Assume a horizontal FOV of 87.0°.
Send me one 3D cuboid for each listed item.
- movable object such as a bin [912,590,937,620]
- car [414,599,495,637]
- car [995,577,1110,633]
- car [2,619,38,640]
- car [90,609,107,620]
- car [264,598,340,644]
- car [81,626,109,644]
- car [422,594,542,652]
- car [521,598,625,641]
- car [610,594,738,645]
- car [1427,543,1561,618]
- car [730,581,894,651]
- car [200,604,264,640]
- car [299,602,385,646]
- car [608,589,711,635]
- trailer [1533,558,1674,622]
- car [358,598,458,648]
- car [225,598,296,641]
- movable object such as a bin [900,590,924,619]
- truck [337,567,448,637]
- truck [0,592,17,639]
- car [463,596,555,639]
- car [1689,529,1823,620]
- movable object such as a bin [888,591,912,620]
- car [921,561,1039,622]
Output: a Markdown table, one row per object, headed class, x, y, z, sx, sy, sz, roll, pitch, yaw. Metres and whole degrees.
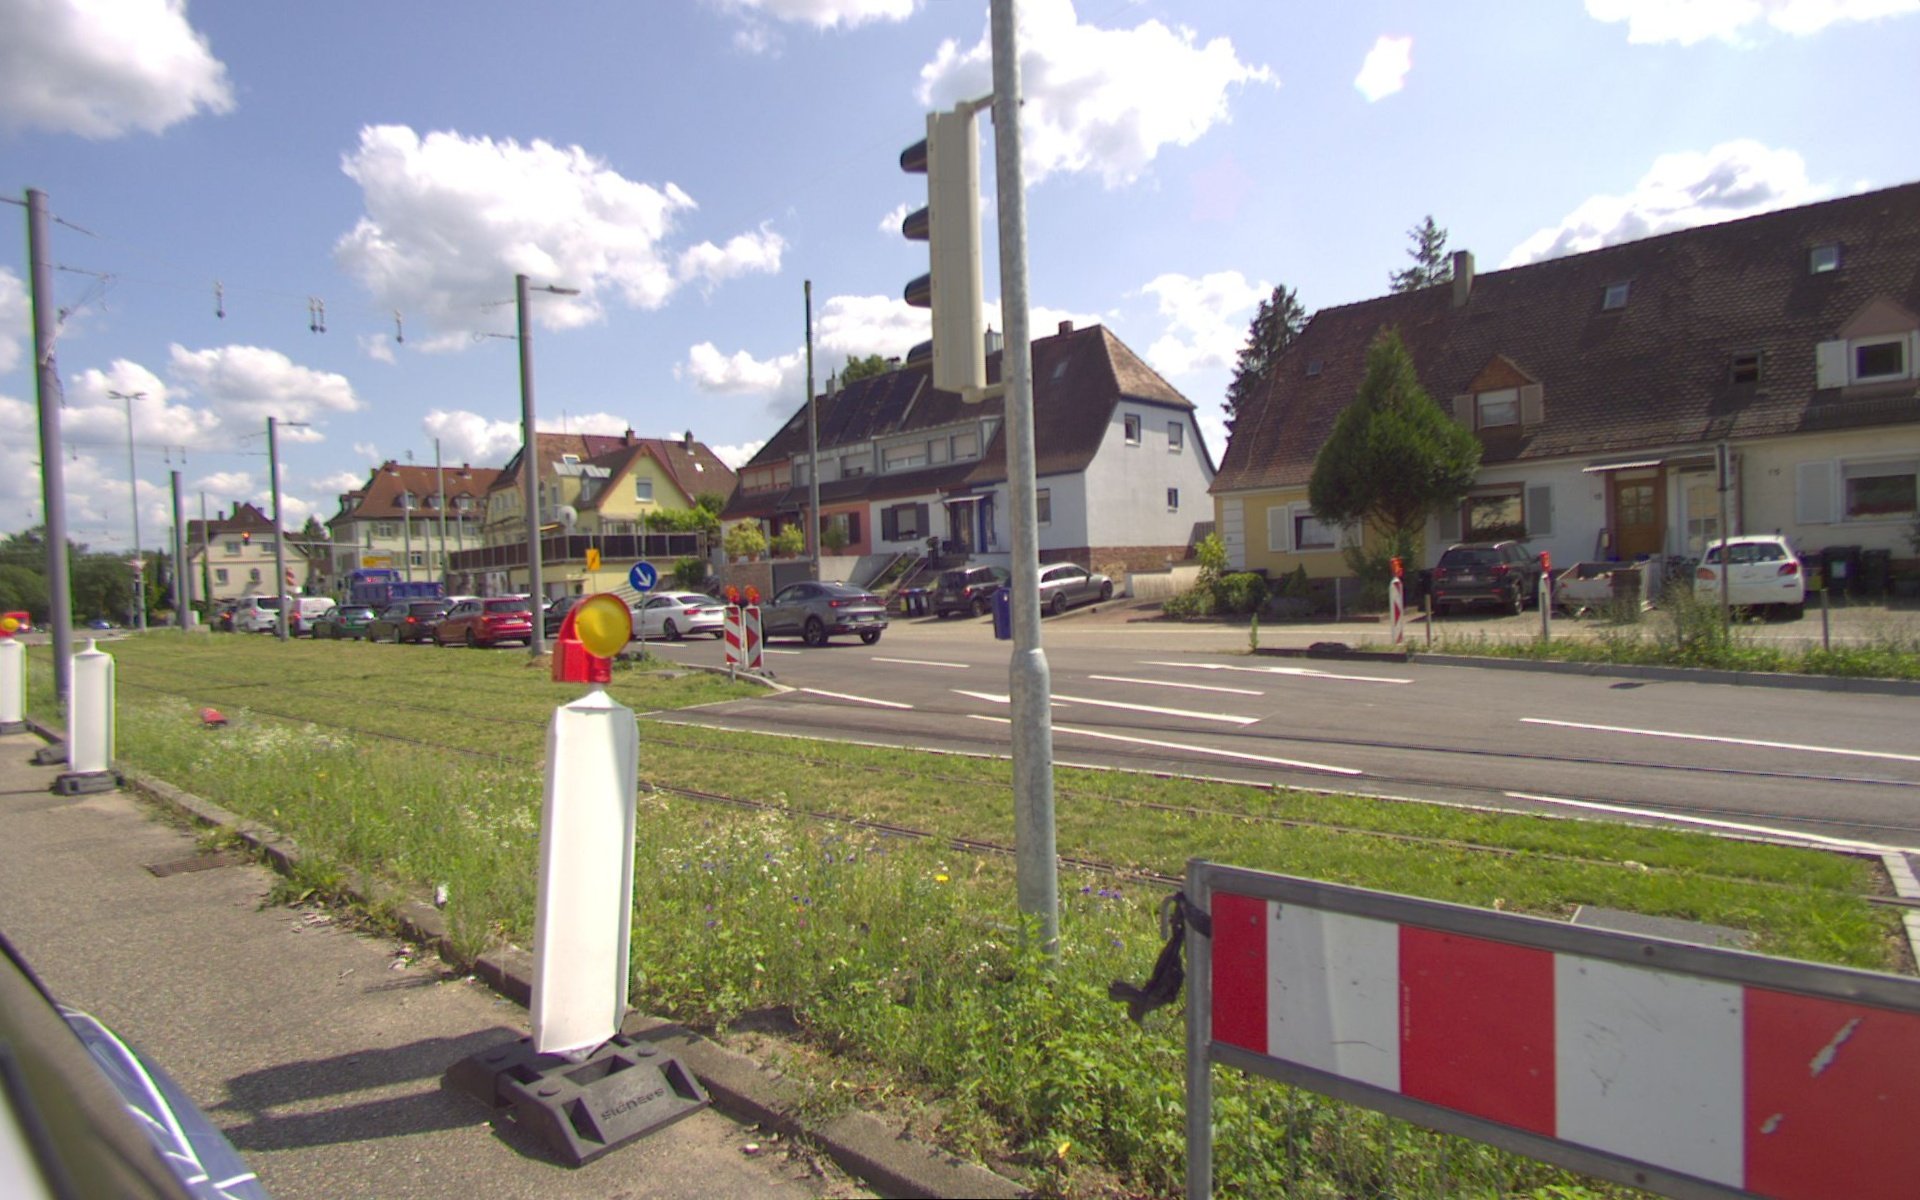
| class | x | y | z | sx | sy | sz | roll | pitch | yaw |
| --- | --- | --- | --- | --- | --- | --- | --- | --- | --- |
| movable object such as a bin | -1.190 | 0.165 | 33.928 | 0.610 | 0.959 | 0.511 | -2 | 1 | 42 |
| car | -22.498 | 0.803 | 44.975 | 4.541 | 1.574 | 1.707 | -2 | 1 | 43 |
| car | 2.939 | 0.124 | 31.657 | 1.680 | 1.566 | 3.840 | -2 | 1 | 39 |
| car | -90.630 | 2.793 | 97.592 | 2.251 | 1.886 | 4.993 | -3 | 1 | -40 |
| car | -132.852 | 2.269 | 156.018 | 1.698 | 1.603 | 4.175 | -3 | 1 | -44 |
| car | -29.292 | 0.924 | 45.014 | 4.541 | 1.868 | 1.707 | -2 | 1 | 43 |
| car | -98.749 | 3.938 | 115.550 | 2.250 | 1.886 | 4.994 | -3 | 1 | -39 |
| car | -14.457 | 0.686 | 30.478 | 4.543 | 1.574 | 1.706 | -2 | 1 | 44 |
| car | -13.560 | 0.681 | 35.285 | 1.705 | 1.344 | 4.545 | -3 | 1 | -44 |
| car | -8.591 | 0.577 | 30.170 | 1.705 | 1.344 | 4.545 | -3 | 1 | -44 |
| car | 12.358 | -0.481 | 23.313 | 1.707 | 1.556 | 3.841 | -2 | 1 | 44 |
| car | -3.795 | 0.383 | 25.278 | 1.704 | 1.538 | 4.777 | -3 | 1 | -41 |
| car | -39.464 | 1.199 | 54.840 | 4.541 | 1.794 | 1.897 | -2 | 1 | 43 |
| car | -24.620 | 0.950 | 40.264 | 4.541 | 1.574 | 1.707 | -2 | 1 | 43 |
| car | -11.535 | 0.470 | 38.672 | 4.543 | 1.574 | 1.706 | -2 | 1 | 44 |
| trailer | 13.709 | -0.251 | 21.412 | 1.958 | 1.133 | 4.873 | -2 | 1 | 39 |
| car | -19.369 | 0.804 | 35.441 | 4.645 | 1.574 | 1.706 | -2 | 1 | 44 |
| car | -34.802 | 0.972 | 50.304 | 4.541 | 1.979 | 1.897 | -2 | 1 | 43 |
| movable object such as a bin | -1.634 | 0.163 | 34.327 | 0.582 | 0.959 | 0.511 | -2 | 1 | 42 |
| truck | -28.524 | 0.144 | 50.694 | 2.803 | 3.177 | 7.939 | -3 | 1 | -44 |
| truck | -112.807 | 1.908 | 118.261 | 3.426 | 5.222 | 14.234 | -3 | 1 | -42 |
| car | -17.925 | 0.694 | 40.098 | 4.543 | 1.574 | 1.706 | -2 | 1 | 44 |
| car | 15.304 | -0.510 | 19.634 | 1.757 | 1.556 | 3.917 | -2 | 1 | 35 |
| movable object such as a bin | -2.065 | 0.185 | 34.717 | 0.582 | 0.959 | 0.511 | -2 | 1 | 42 |
| car | 0.719 | -0.306 | 33.492 | 1.801 | 1.859 | 3.948 | -2 | 1 | 39 |
